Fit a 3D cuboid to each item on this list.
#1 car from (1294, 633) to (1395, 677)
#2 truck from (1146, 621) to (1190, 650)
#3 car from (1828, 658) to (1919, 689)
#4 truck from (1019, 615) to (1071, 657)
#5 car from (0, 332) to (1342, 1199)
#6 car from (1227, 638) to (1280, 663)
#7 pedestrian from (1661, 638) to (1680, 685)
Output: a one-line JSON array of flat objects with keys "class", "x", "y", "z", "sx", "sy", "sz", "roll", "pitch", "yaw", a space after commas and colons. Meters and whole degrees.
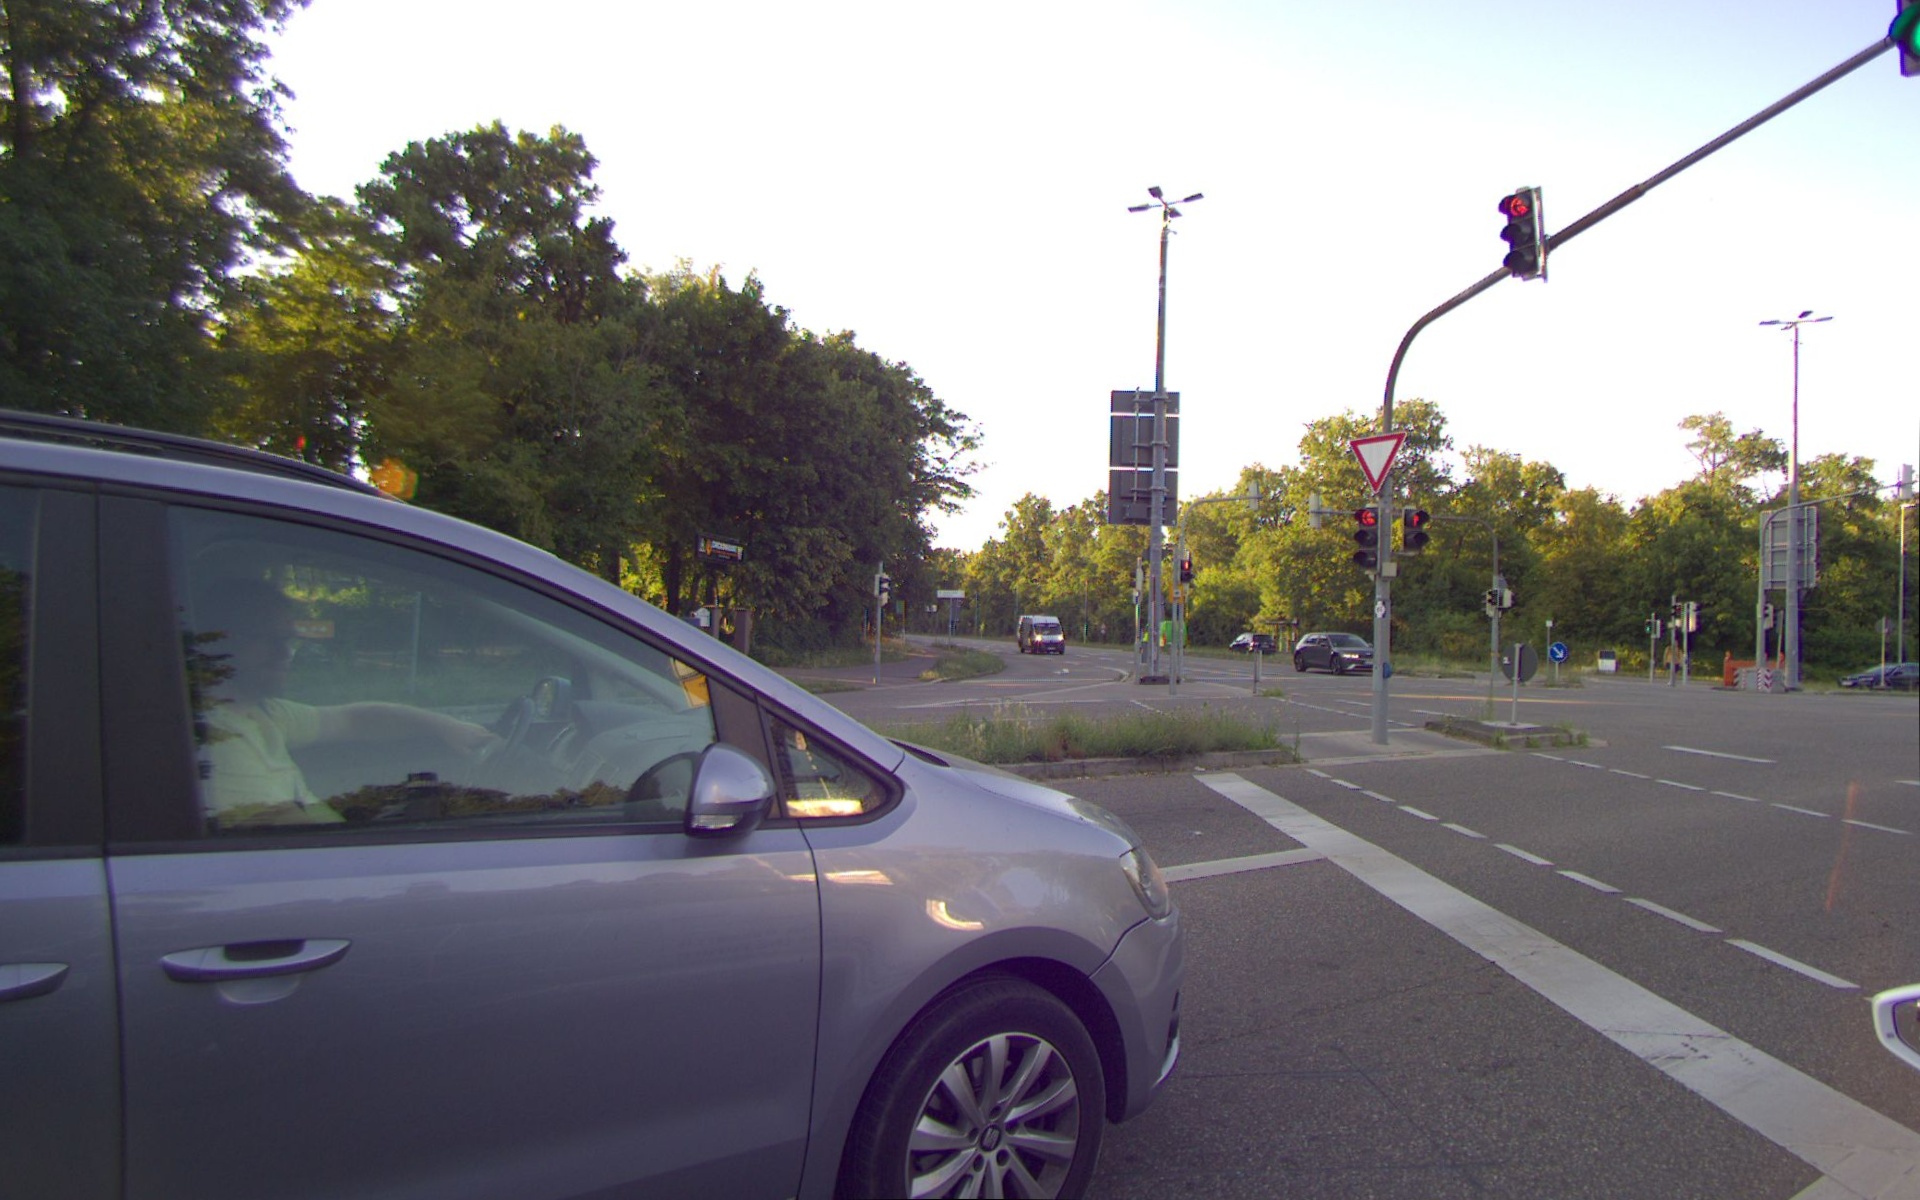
[{"class": "car", "x": 14.805, "y": 2.084, "z": 38.940, "sx": 1.966, "sy": 1.540, "sz": 3.995, "roll": 2, "pitch": -1, "yaw": -8}, {"class": "truck", "x": 16.174, "y": 2.706, "z": 78.280, "sx": 1.964, "sy": 2.149, "sz": 3.993, "roll": 2, "pitch": -1, "yaw": -10}, {"class": "car", "x": 41.892, "y": 3.328, "z": 45.676, "sx": 3.577, "sy": 1.260, "sz": 1.607, "roll": 1, "pitch": -2, "yaw": -2}, {"class": "truck", "x": 5.512, "y": 2.312, "z": 66.052, "sx": 2.555, "sy": 2.591, "sz": 6.020, "roll": 2, "pitch": -1, "yaw": -3}, {"class": "car", "x": -1.448, "y": 0.565, "z": 2.206, "sx": 4.607, "sy": 1.747, "sz": 1.857, "roll": 2, "pitch": -2, "yaw": -31}, {"class": "car", "x": 18.406, "y": 3.160, "z": 63.133, "sx": 1.634, "sy": 1.345, "sz": 4.041, "roll": 2, "pitch": 0, "yaw": -8}, {"class": "pedestrian", "x": 28.313, "y": 2.448, "z": 40.014, "sx": 0.566, "sy": 1.824, "sz": 0.748, "roll": 0, "pitch": -2, "yaw": 33}]
